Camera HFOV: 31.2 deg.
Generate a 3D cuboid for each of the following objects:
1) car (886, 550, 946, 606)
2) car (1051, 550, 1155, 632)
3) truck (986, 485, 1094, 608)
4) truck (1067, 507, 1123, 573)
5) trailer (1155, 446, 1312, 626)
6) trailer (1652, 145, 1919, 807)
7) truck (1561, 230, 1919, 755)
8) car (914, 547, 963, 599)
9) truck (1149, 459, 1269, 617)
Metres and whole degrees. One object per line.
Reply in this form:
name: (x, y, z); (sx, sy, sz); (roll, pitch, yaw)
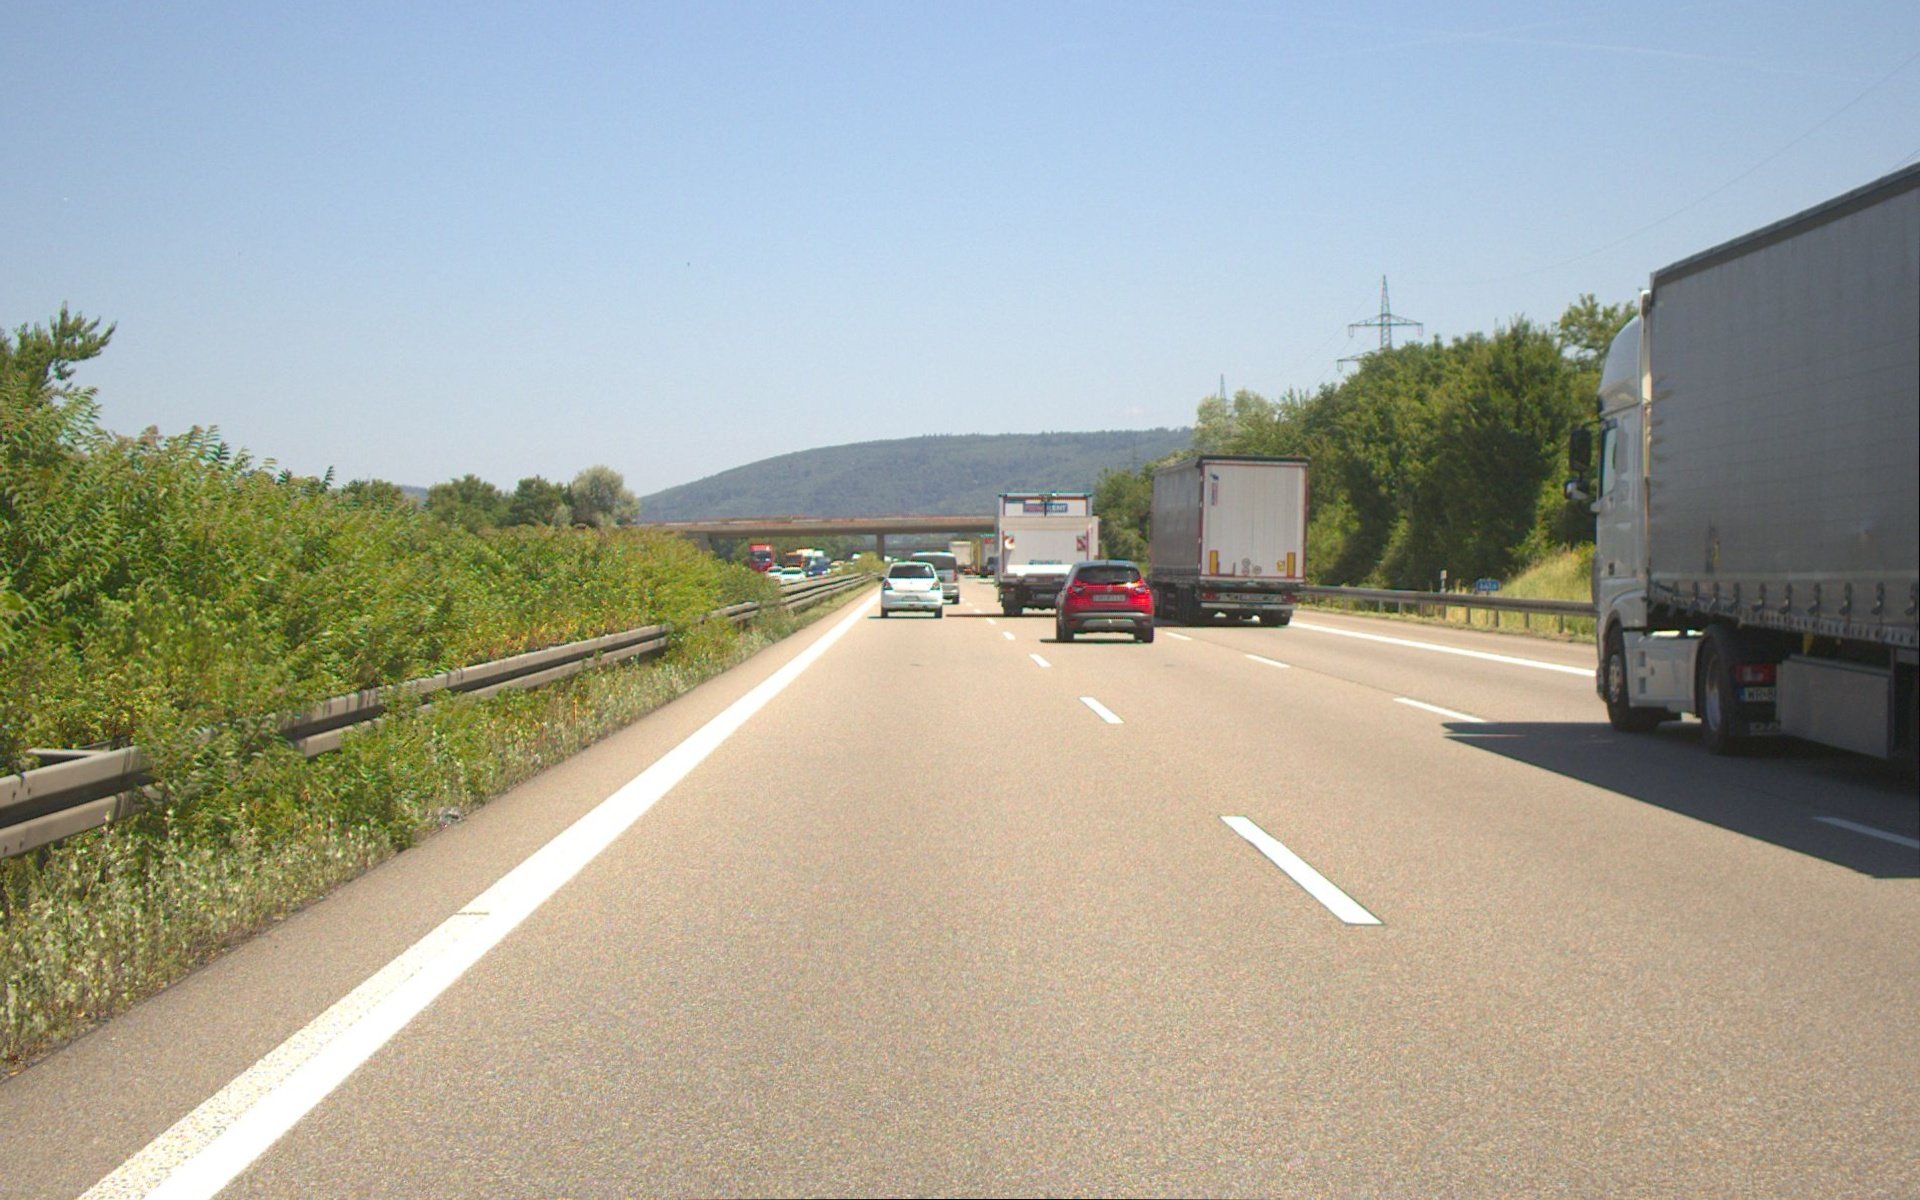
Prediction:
car: (-1.209, -0.618, 94.304); (1.607, 1.462, 4.000); (0, 1, -1)
car: (2.717, -0.193, 66.056); (1.803, 1.540, 4.000); (0, 1, -1)
truck: (2.237, -1.504, 98.717); (2.782, 3.361, 8.128); (0, 1, -1)
truck: (6.775, -3.024, 173.298); (2.221, 3.198, 10.385); (-1, 1, -1)
trailer: (6.755, -1.581, 86.809); (2.789, 4.149, 13.575); (-1, 1, 0)
trailer: (7.285, -0.777, 22.386); (2.736, 4.092, 13.123); (0, 1, -1)
truck: (7.198, -0.881, 30.003); (2.736, 4.105, 6.125); (0, 1, -1)
car: (-0.787, -1.007, 125.355); (1.760, 1.844, 4.000); (0, 1, -1)
truck: (6.735, -1.670, 93.693); (2.795, 4.149, 5.723); (-1, 1, 0)
